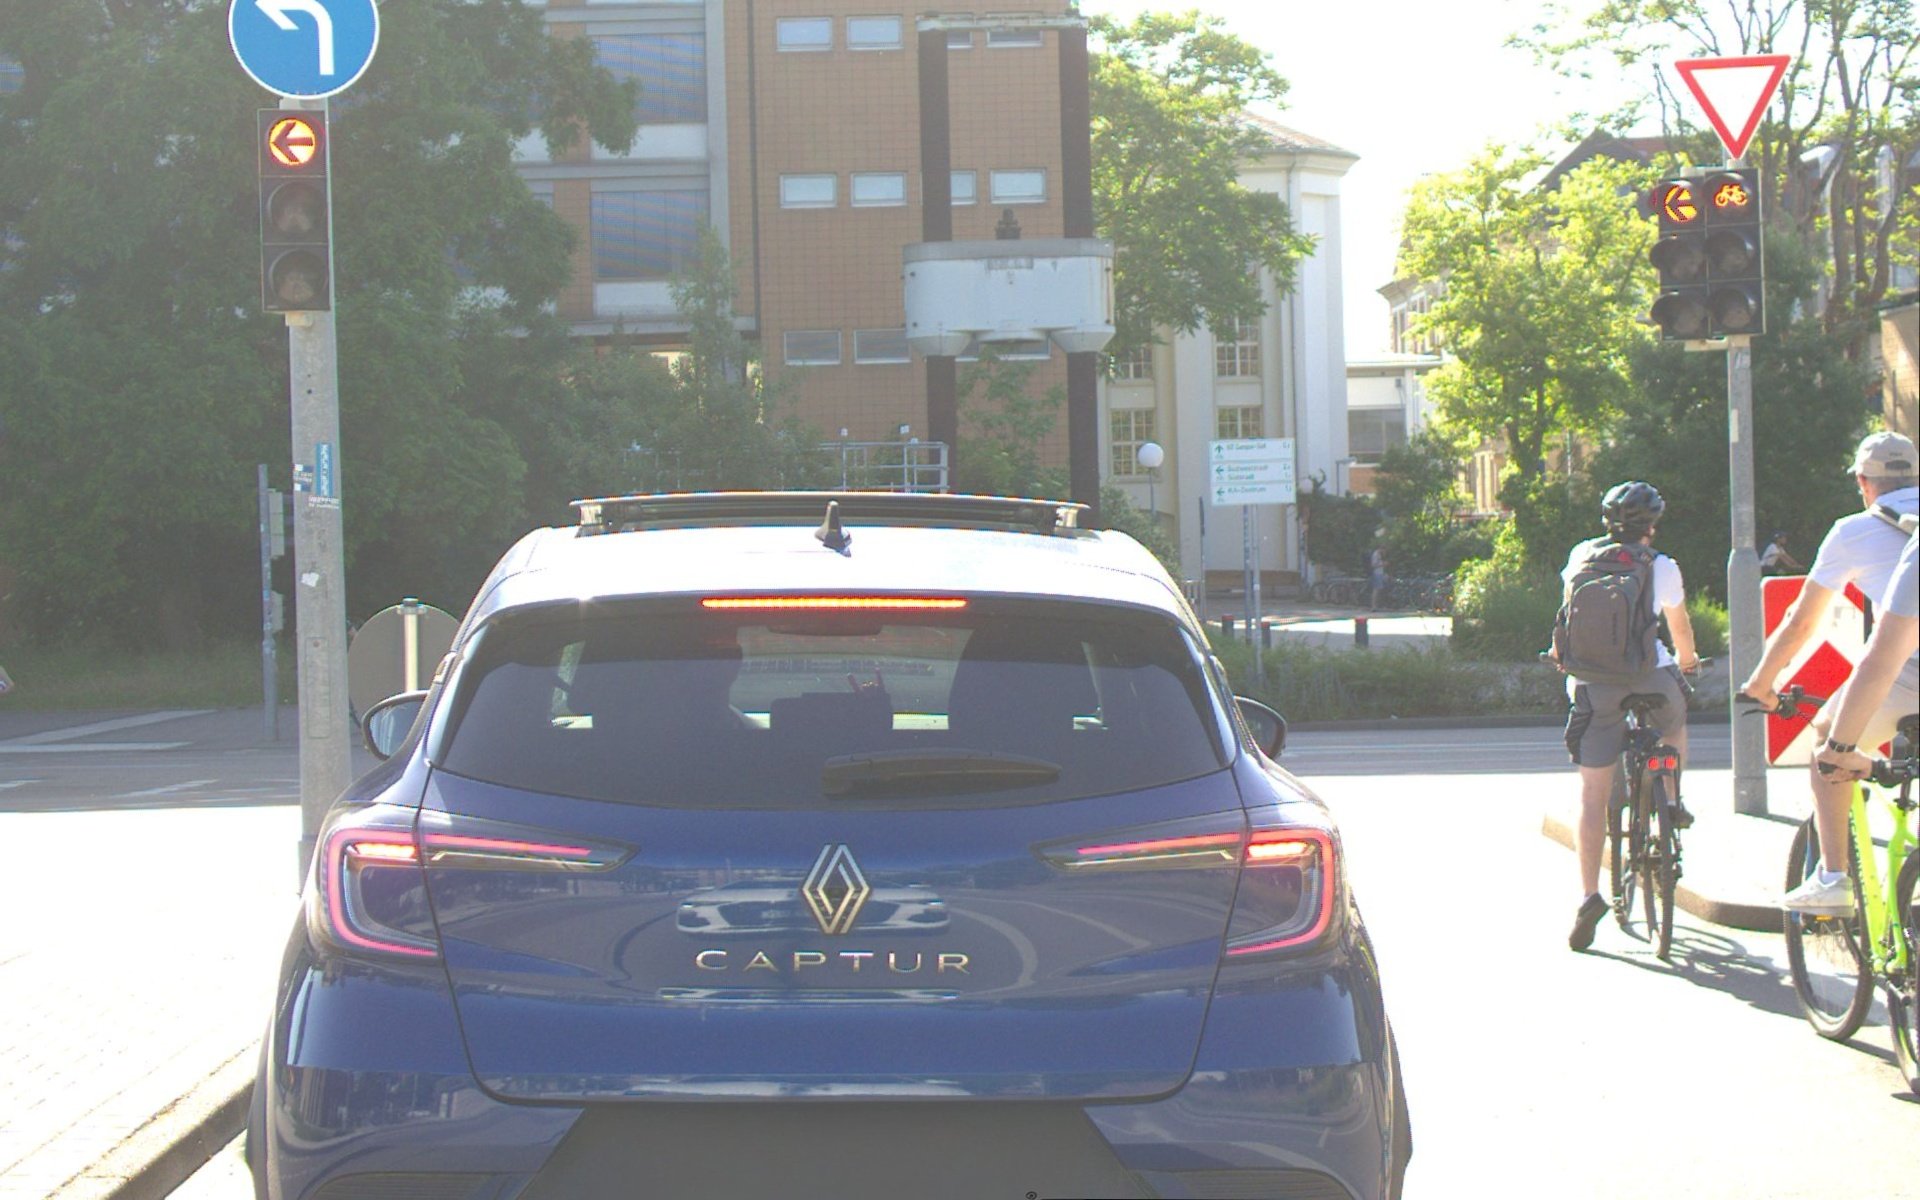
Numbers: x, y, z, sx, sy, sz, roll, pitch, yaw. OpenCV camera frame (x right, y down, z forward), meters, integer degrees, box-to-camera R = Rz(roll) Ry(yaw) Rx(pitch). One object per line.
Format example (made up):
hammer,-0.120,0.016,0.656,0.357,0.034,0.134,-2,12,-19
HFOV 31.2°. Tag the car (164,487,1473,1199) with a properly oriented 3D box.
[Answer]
car,-0.271,0.612,6.663,1.788,1.580,3.915,0,1,-2

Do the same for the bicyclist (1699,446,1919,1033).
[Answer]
bicyclist,2.590,0.370,9.871,0.678,1.589,1.142,0,1,-1

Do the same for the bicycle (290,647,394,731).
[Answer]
bicycle,-7.883,1.123,43.921,0.755,0.981,2.093,-1,1,5

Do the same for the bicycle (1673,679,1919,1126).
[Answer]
bicycle,2.591,0.802,9.824,0.689,1.085,1.922,0,1,-1

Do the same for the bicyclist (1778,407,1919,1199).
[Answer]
bicyclist,2.234,0.504,7.355,0.683,1.785,1.142,0,1,-1

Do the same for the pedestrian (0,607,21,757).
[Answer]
pedestrian,-11.375,0.954,39.747,0.681,1.724,0.760,-1,1,13

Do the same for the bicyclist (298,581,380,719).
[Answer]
bicyclist,-7.904,0.629,43.810,0.755,1.710,0.998,-1,1,5

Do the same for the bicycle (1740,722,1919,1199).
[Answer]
bicycle,2.233,0.848,7.312,0.689,1.085,1.922,0,1,-1

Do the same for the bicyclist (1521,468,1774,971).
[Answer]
bicyclist,2.534,0.418,12.778,0.699,1.785,1.142,0,1,-1

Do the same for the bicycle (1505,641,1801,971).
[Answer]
bicycle,2.529,0.719,12.757,0.689,1.085,1.922,0,1,-1
